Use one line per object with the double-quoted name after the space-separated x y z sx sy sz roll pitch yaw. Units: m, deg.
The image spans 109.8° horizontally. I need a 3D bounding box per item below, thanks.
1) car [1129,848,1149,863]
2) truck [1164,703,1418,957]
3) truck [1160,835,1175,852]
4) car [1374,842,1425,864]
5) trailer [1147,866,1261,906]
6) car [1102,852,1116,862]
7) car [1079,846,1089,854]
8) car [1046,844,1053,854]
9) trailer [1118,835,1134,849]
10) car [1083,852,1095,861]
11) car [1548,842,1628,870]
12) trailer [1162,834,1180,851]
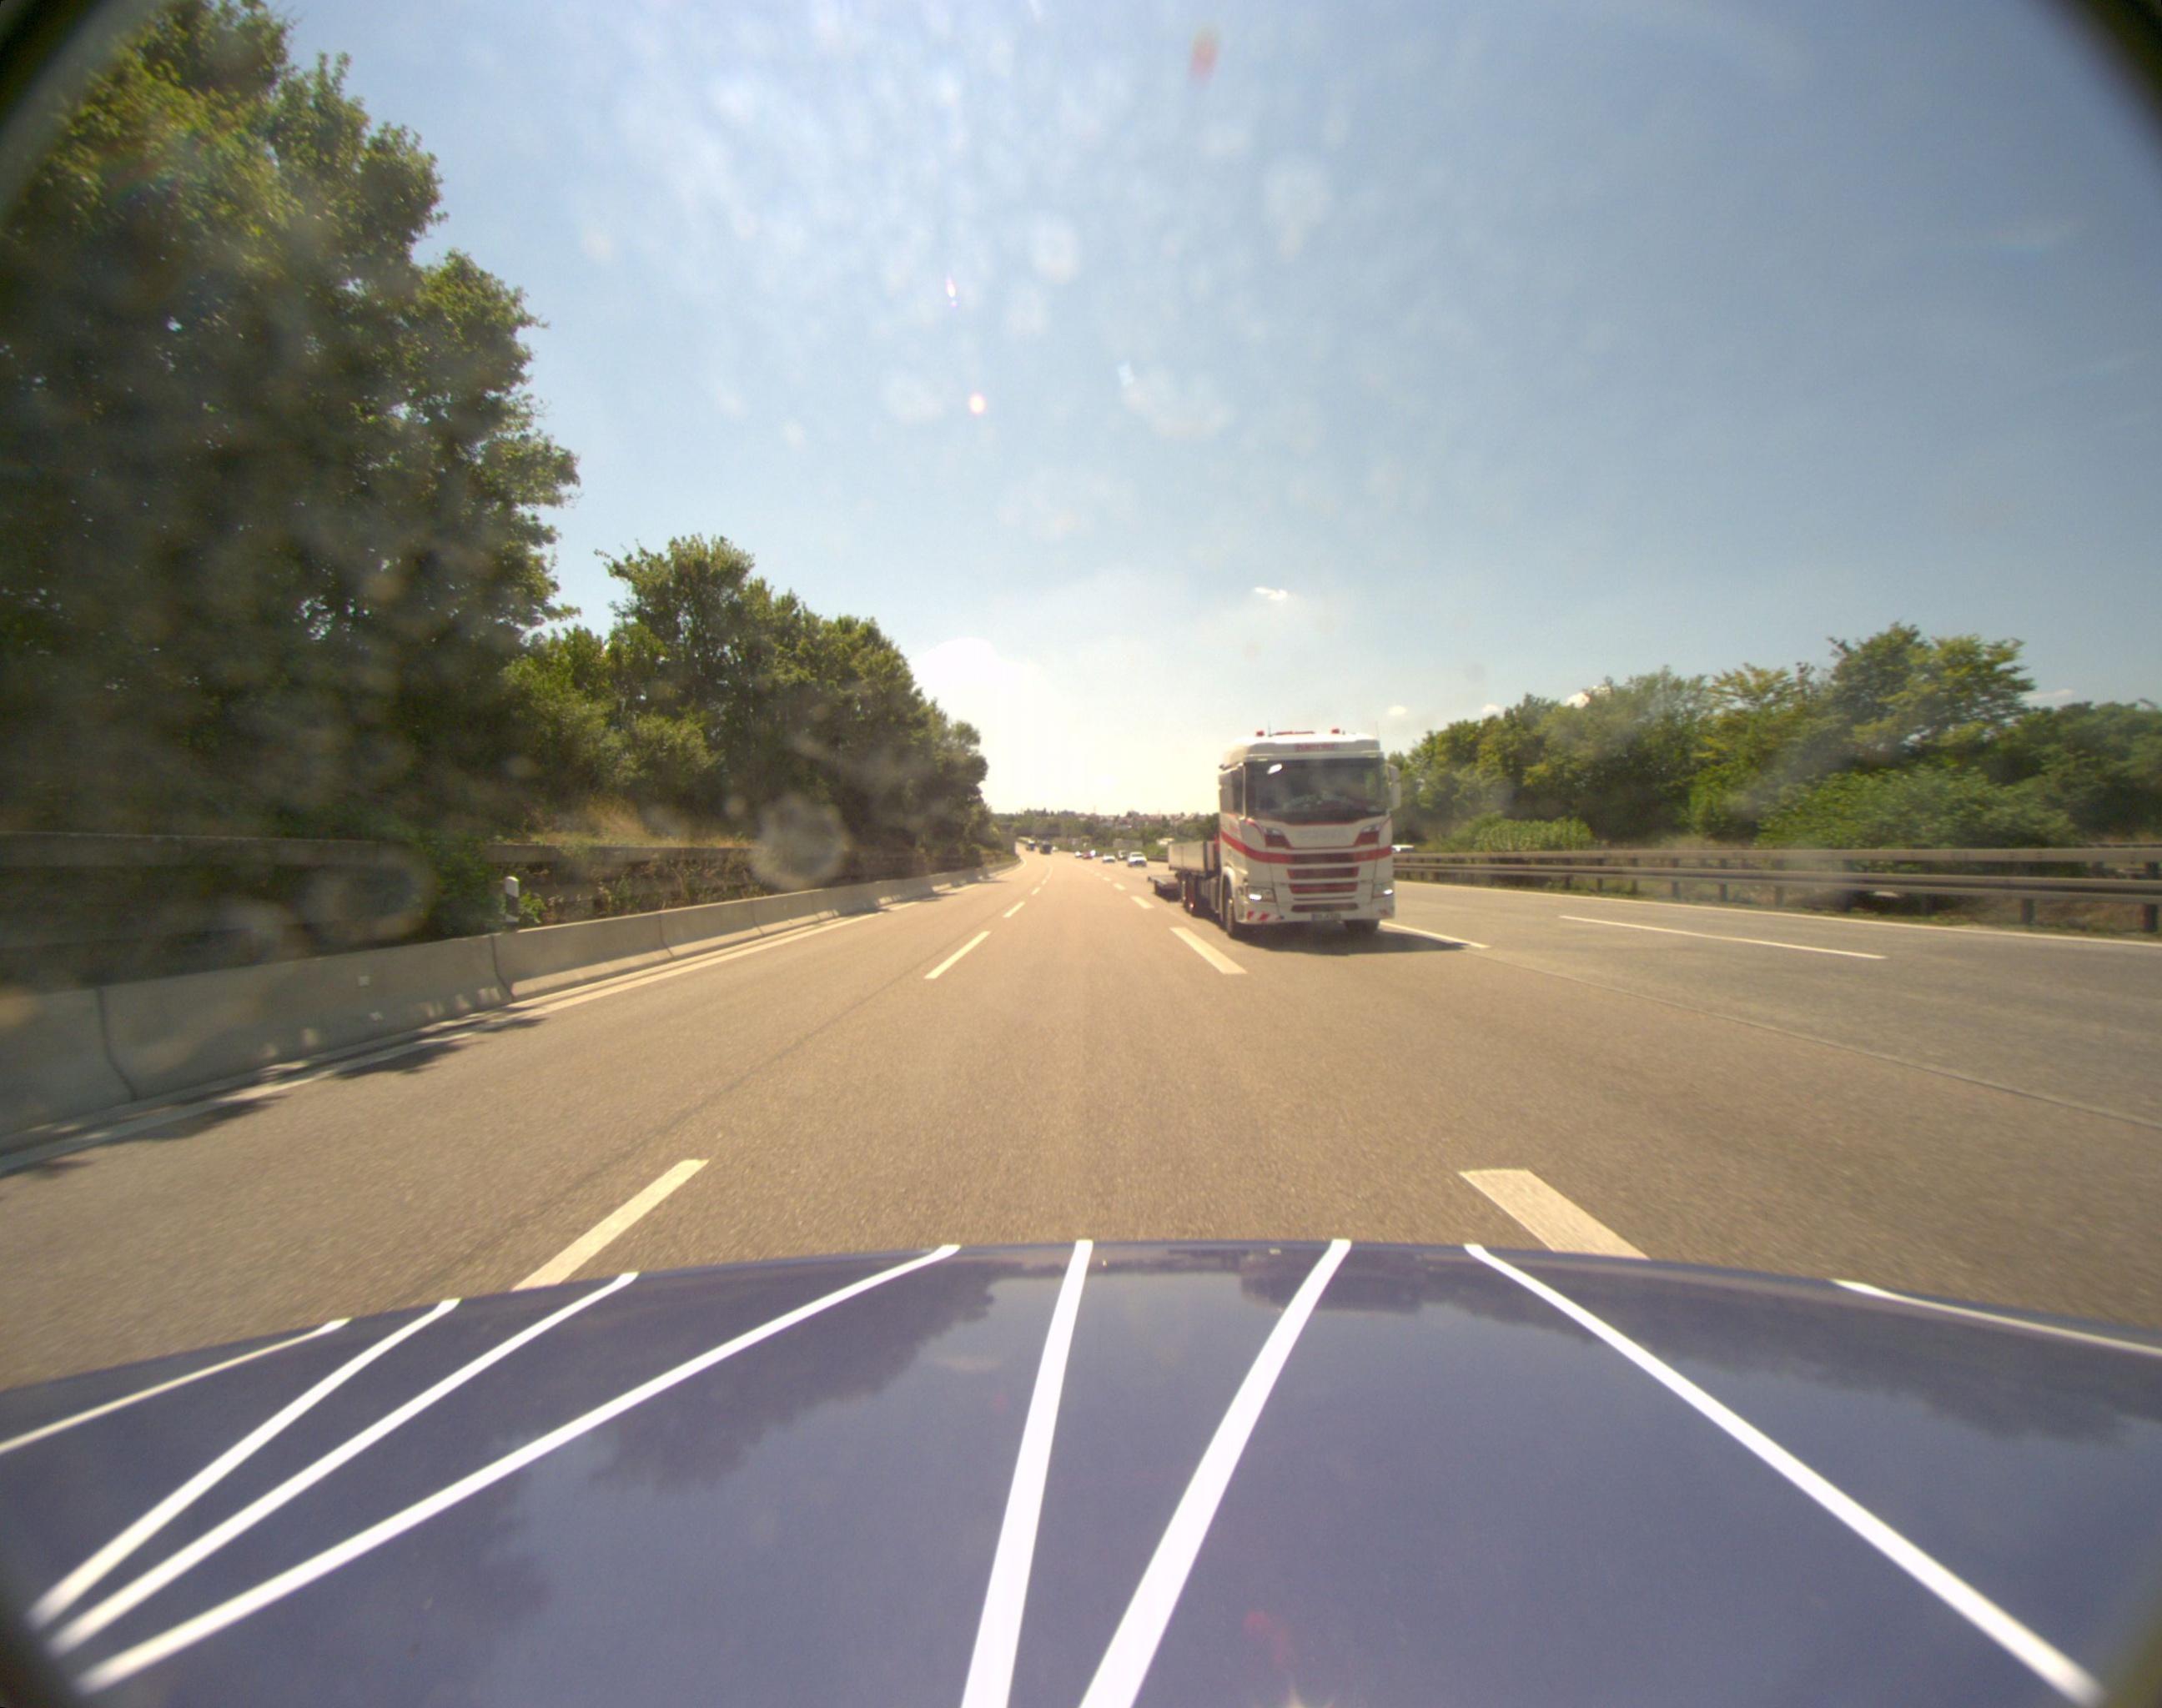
6.364 0.162 83.764 1.883 1.543 3.999 -2 0 -1 "car"
3.782 -0.388 16.920 2.721 3.780 10.671 -2 0 1 "truck"
20.441 -2.570 179.928 2.702 3.866 5.744 -2 1 -2 "truck"
22.828 -0.059 54.661 1.827 1.479 4.255 -2 0 0 "car"
3.940 1.010 26.103 2.721 0.929 7.759 -2 0 1 "trailer"
4.425 0.465 118.813 1.787 1.494 4.169 -1 1 -3 "car"
0.718 -1.002 182.242 1.999 1.832 3.998 -2 1 -5 "car"
-10.385 -1.624 248.900 2.116 3.284 6.442 -2 1 -2 "car"
14.161 -3.696 239.001 3.401 4.066 13.921 -2 1 -3 "trailer"
1.707 0.470 159.015 1.999 1.832 3.998 -2 1 -5 "car"
28.462 0.098 42.807 1.827 1.479 4.050 -2 0 0 "car"
20.611 -2.601 174.639 2.697 3.866 9.731 -2 0 -2 "trailer"
